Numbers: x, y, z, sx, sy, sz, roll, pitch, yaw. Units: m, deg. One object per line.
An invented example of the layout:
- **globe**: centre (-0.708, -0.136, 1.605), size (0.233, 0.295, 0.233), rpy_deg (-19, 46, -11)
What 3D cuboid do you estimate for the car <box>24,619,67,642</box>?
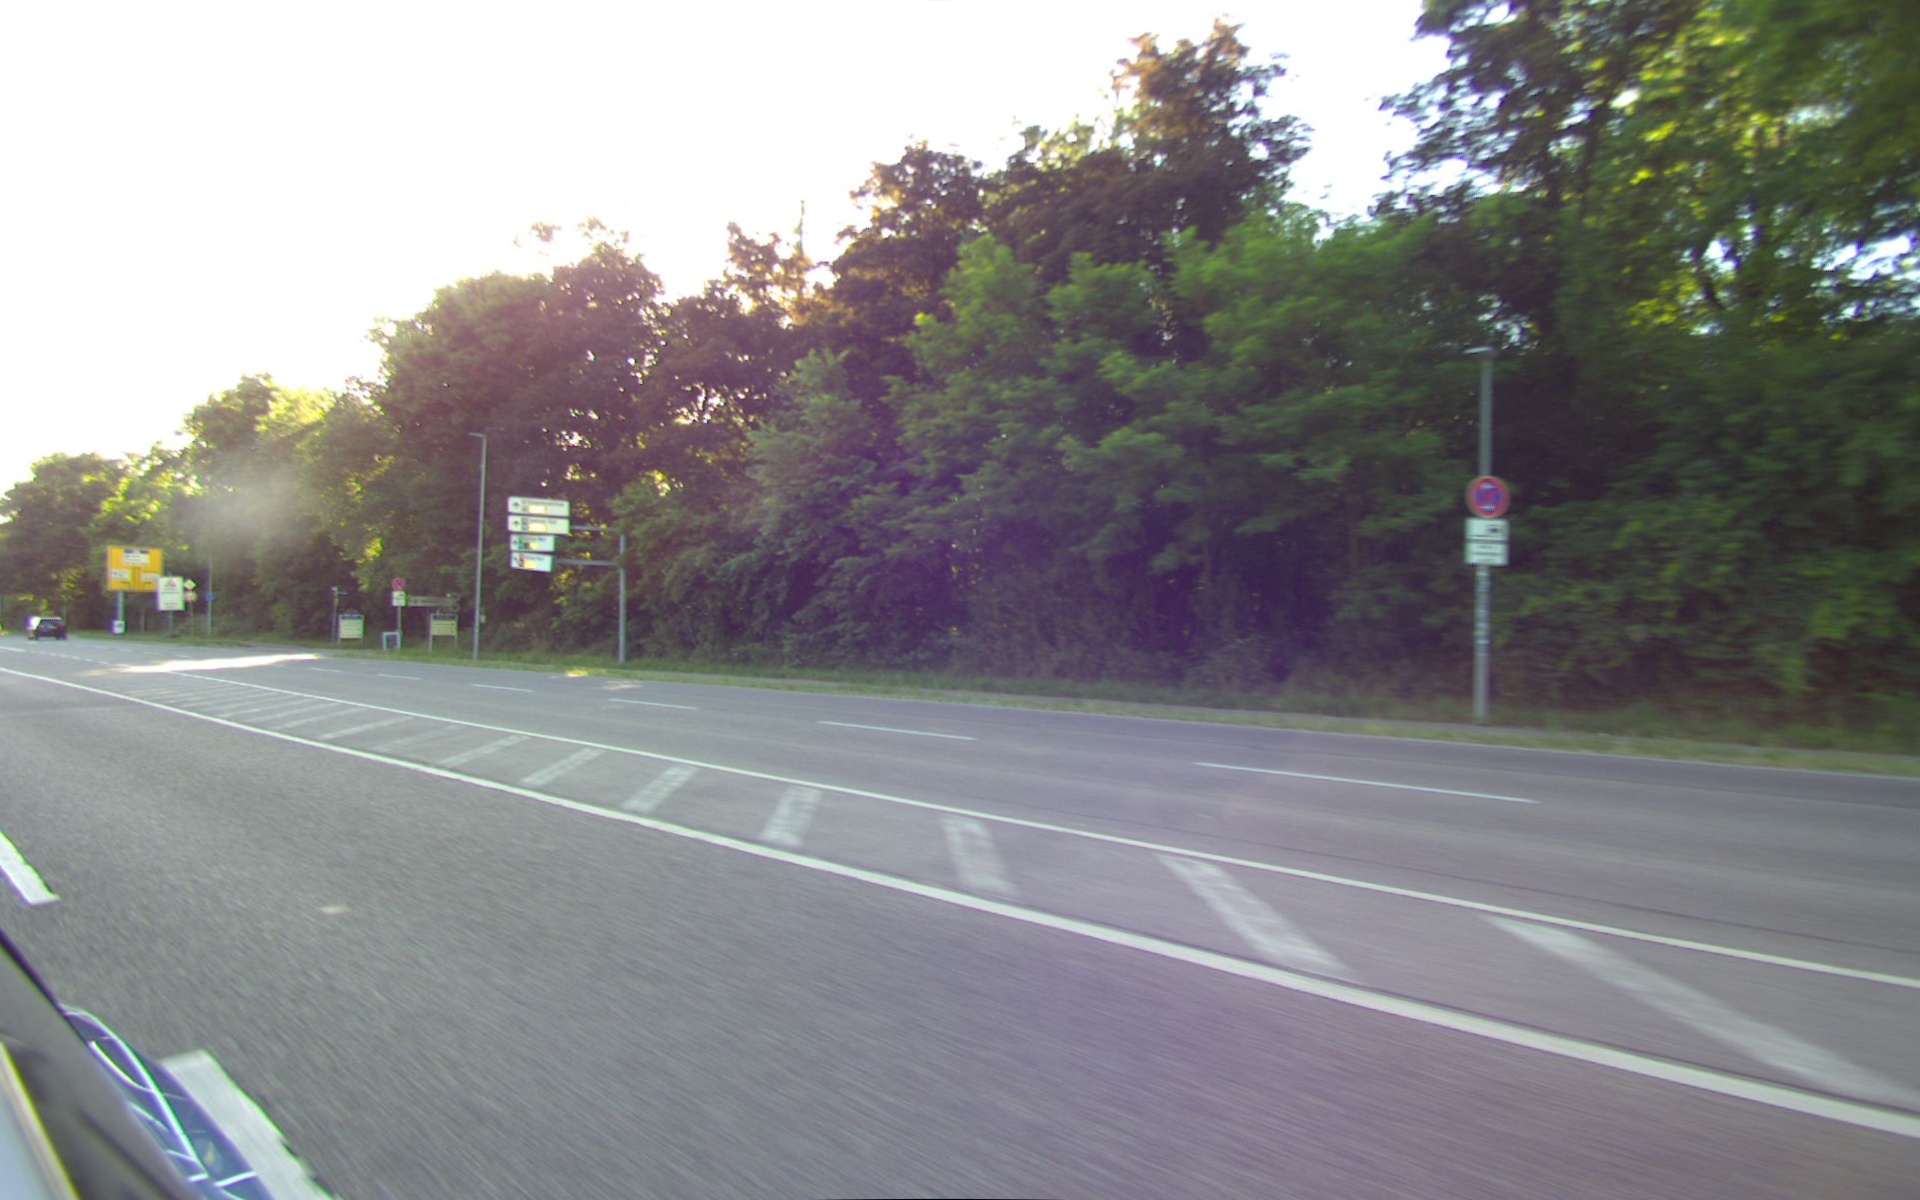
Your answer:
- **car**: centre (-65.788, 2.184, 72.770), size (4.349, 1.601, 1.806), rpy_deg (-1, -1, 41)
